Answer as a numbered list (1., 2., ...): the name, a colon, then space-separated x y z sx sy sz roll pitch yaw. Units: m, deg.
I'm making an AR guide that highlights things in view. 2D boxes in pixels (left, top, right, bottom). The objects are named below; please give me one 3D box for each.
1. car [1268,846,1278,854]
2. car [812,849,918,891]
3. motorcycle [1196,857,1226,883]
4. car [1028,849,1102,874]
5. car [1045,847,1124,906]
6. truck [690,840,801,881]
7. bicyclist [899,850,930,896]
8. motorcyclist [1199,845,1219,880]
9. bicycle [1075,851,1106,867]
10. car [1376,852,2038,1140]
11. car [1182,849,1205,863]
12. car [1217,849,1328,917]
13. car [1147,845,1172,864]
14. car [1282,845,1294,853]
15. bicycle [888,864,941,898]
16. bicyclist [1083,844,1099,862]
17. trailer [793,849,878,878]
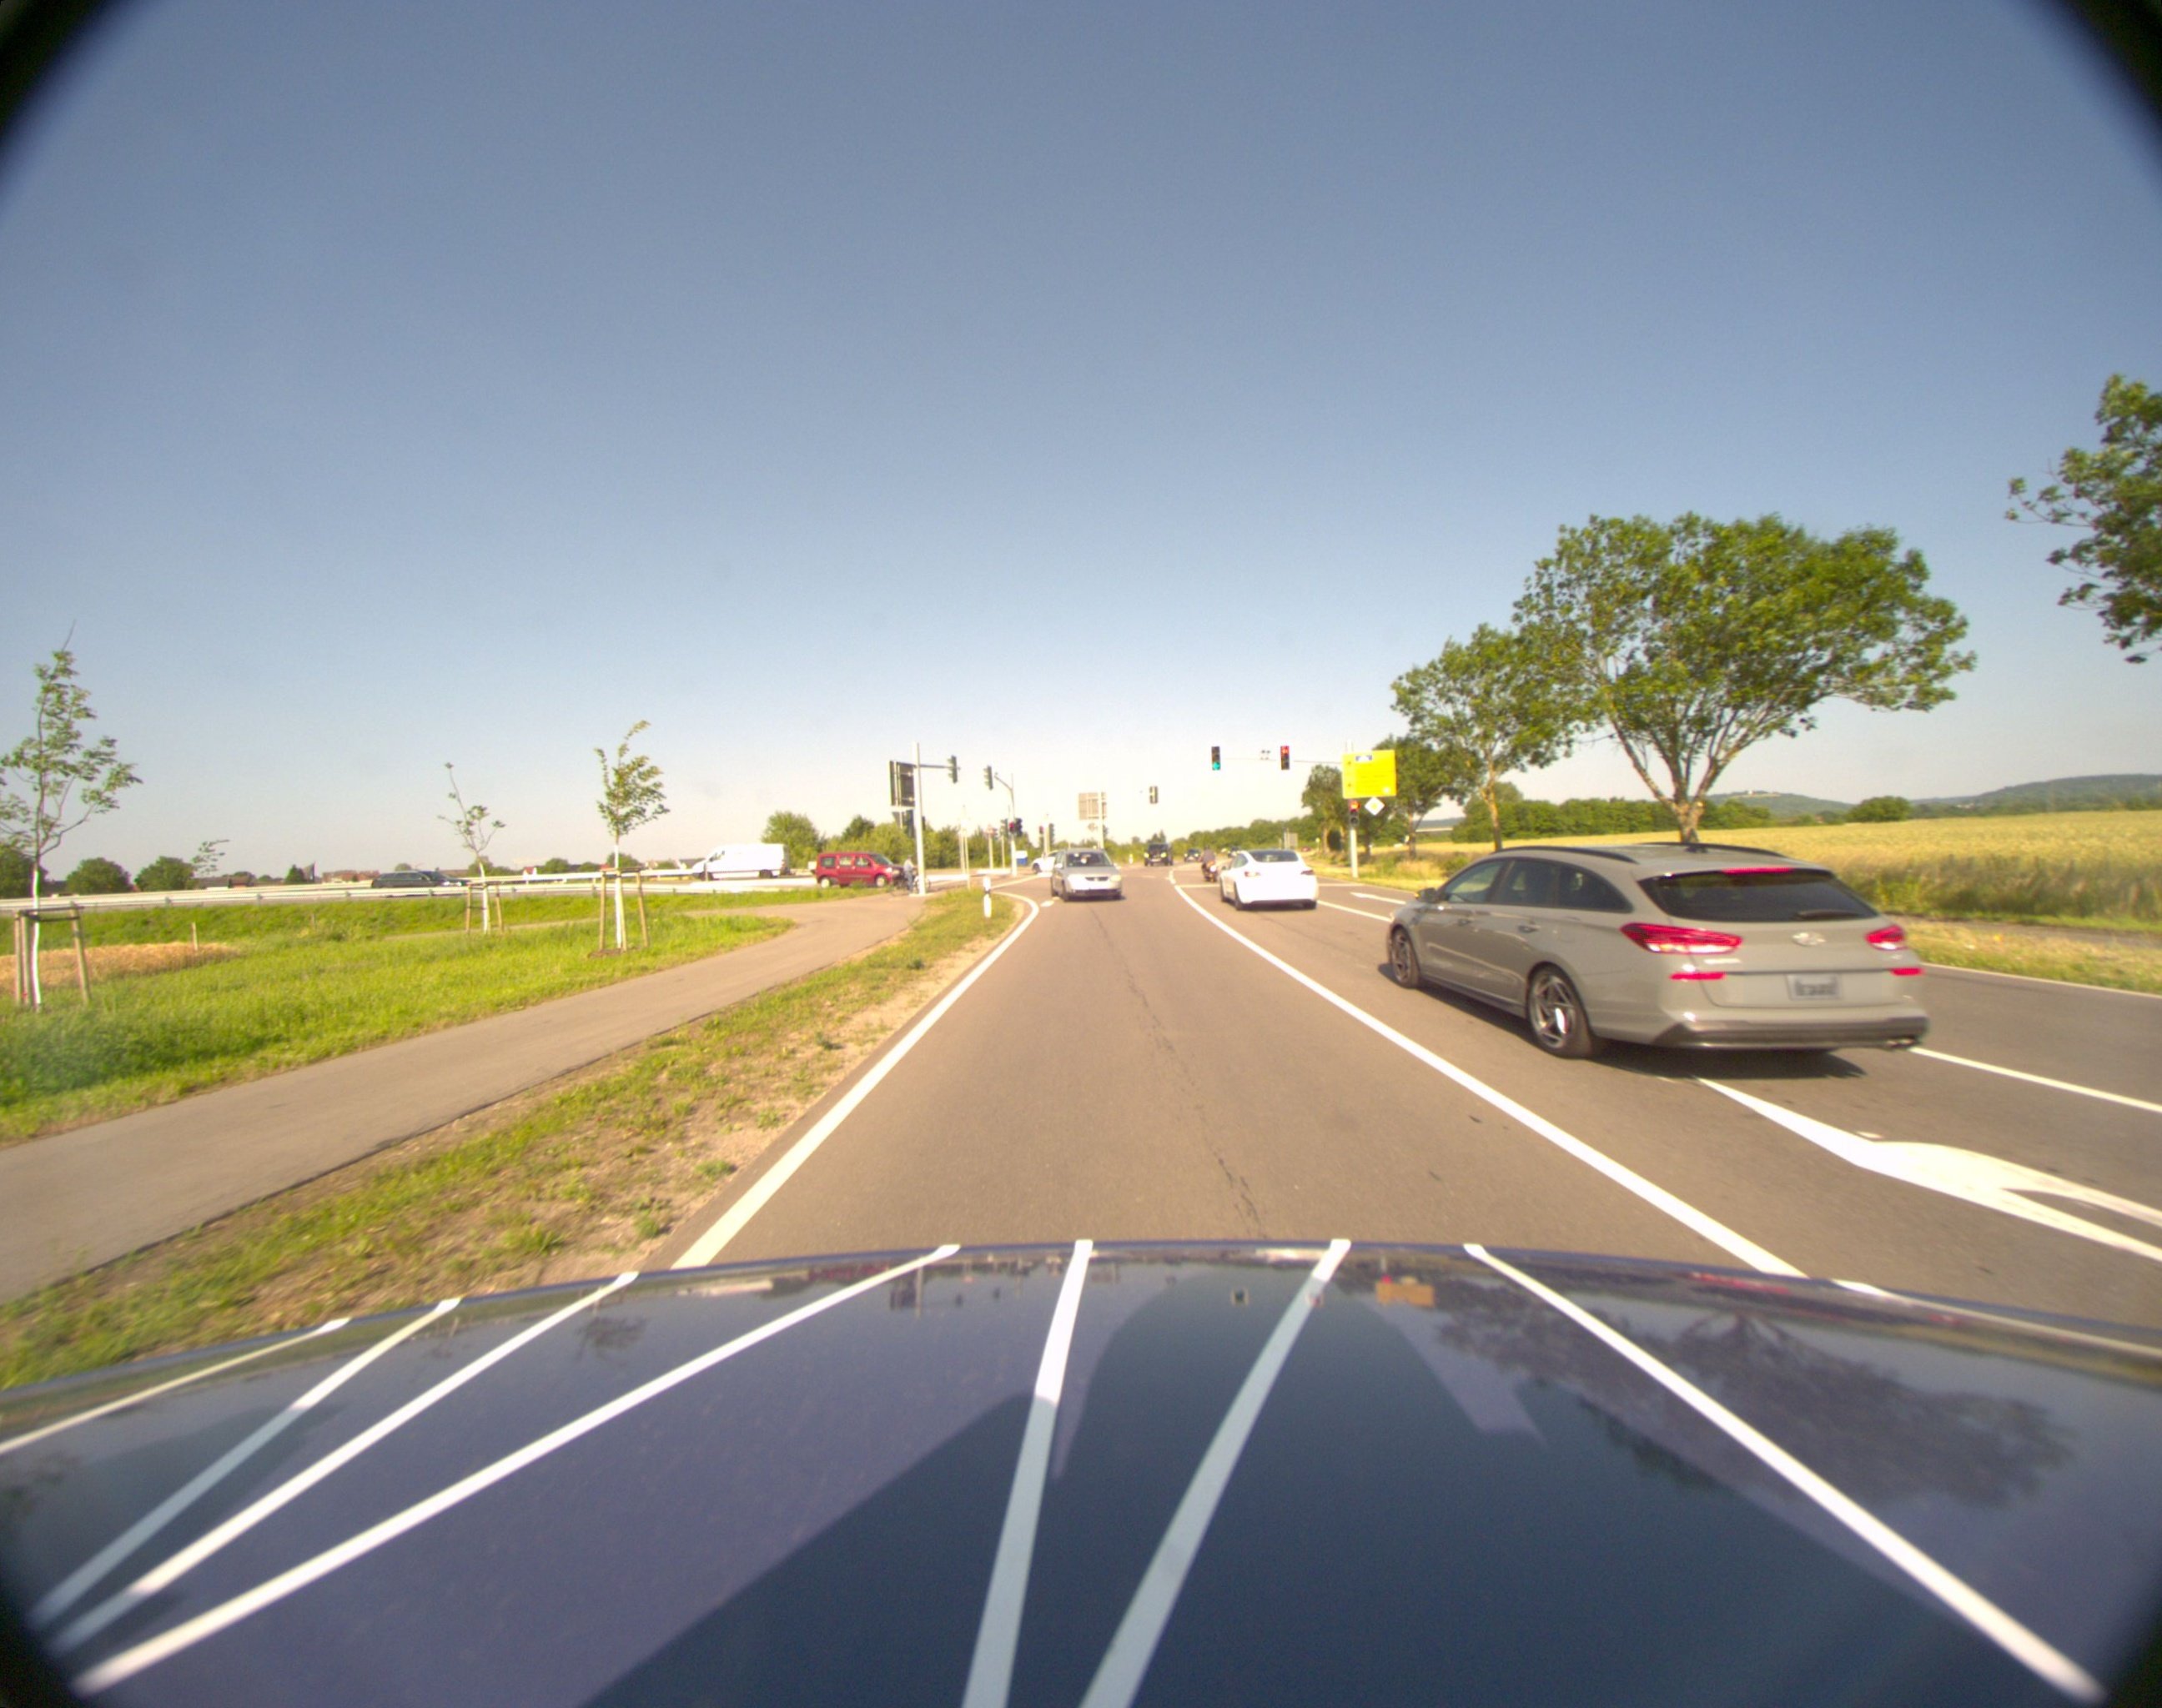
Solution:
1. car: 33.391 -0.679 132.135 1.631 1.369 4.426 0 1 14
2. car: -10.592 0.790 37.338 4.690 1.826 1.695 -2 1 15
3. motorcycle: 5.598 0.685 32.825 0.899 1.037 2.428 -2 0 1
4. car: -1.068 0.476 48.326 4.695 1.483 1.768 -1 1 41
5. car: 0.022 0.660 24.520 1.757 1.685 4.211 -2 0 -10
6. truck: -21.812 0.397 49.688 6.198 2.391 2.069 -2 2 -9
7. bicyclist: -6.759 0.764 30.875 0.919 1.756 0.618 -7 5 -39
8. motorcyclist: 5.596 0.354 33.218 0.680 1.506 1.181 -2 1 2
9. bicycle: 0.734 0.367 57.963 2.148 1.143 1.074 -1 2 8
10. car: 4.148 0.756 6.181 1.894 1.452 4.305 -1 1 1
11. car: 13.137 0.236 88.556 1.859 1.533 4.005 -1 0 19
12. car: 4.655 0.628 19.108 1.894 1.458 4.276 -2 1 3
13. car: 6.863 -0.002 66.115 1.860 1.533 4.002 -2 0 9
14. car: 41.701 -1.089 153.031 1.886 1.616 4.006 0 1 23
15. bicycle: -6.764 1.078 30.895 1.948 1.145 0.679 -7 5 -39
16. bicyclist: 0.740 -0.096 57.878 1.072 1.344 0.859 -1 2 8
17. trailer: -16.239 0.581 50.461 5.011 1.728 1.979 -2 1 -8
